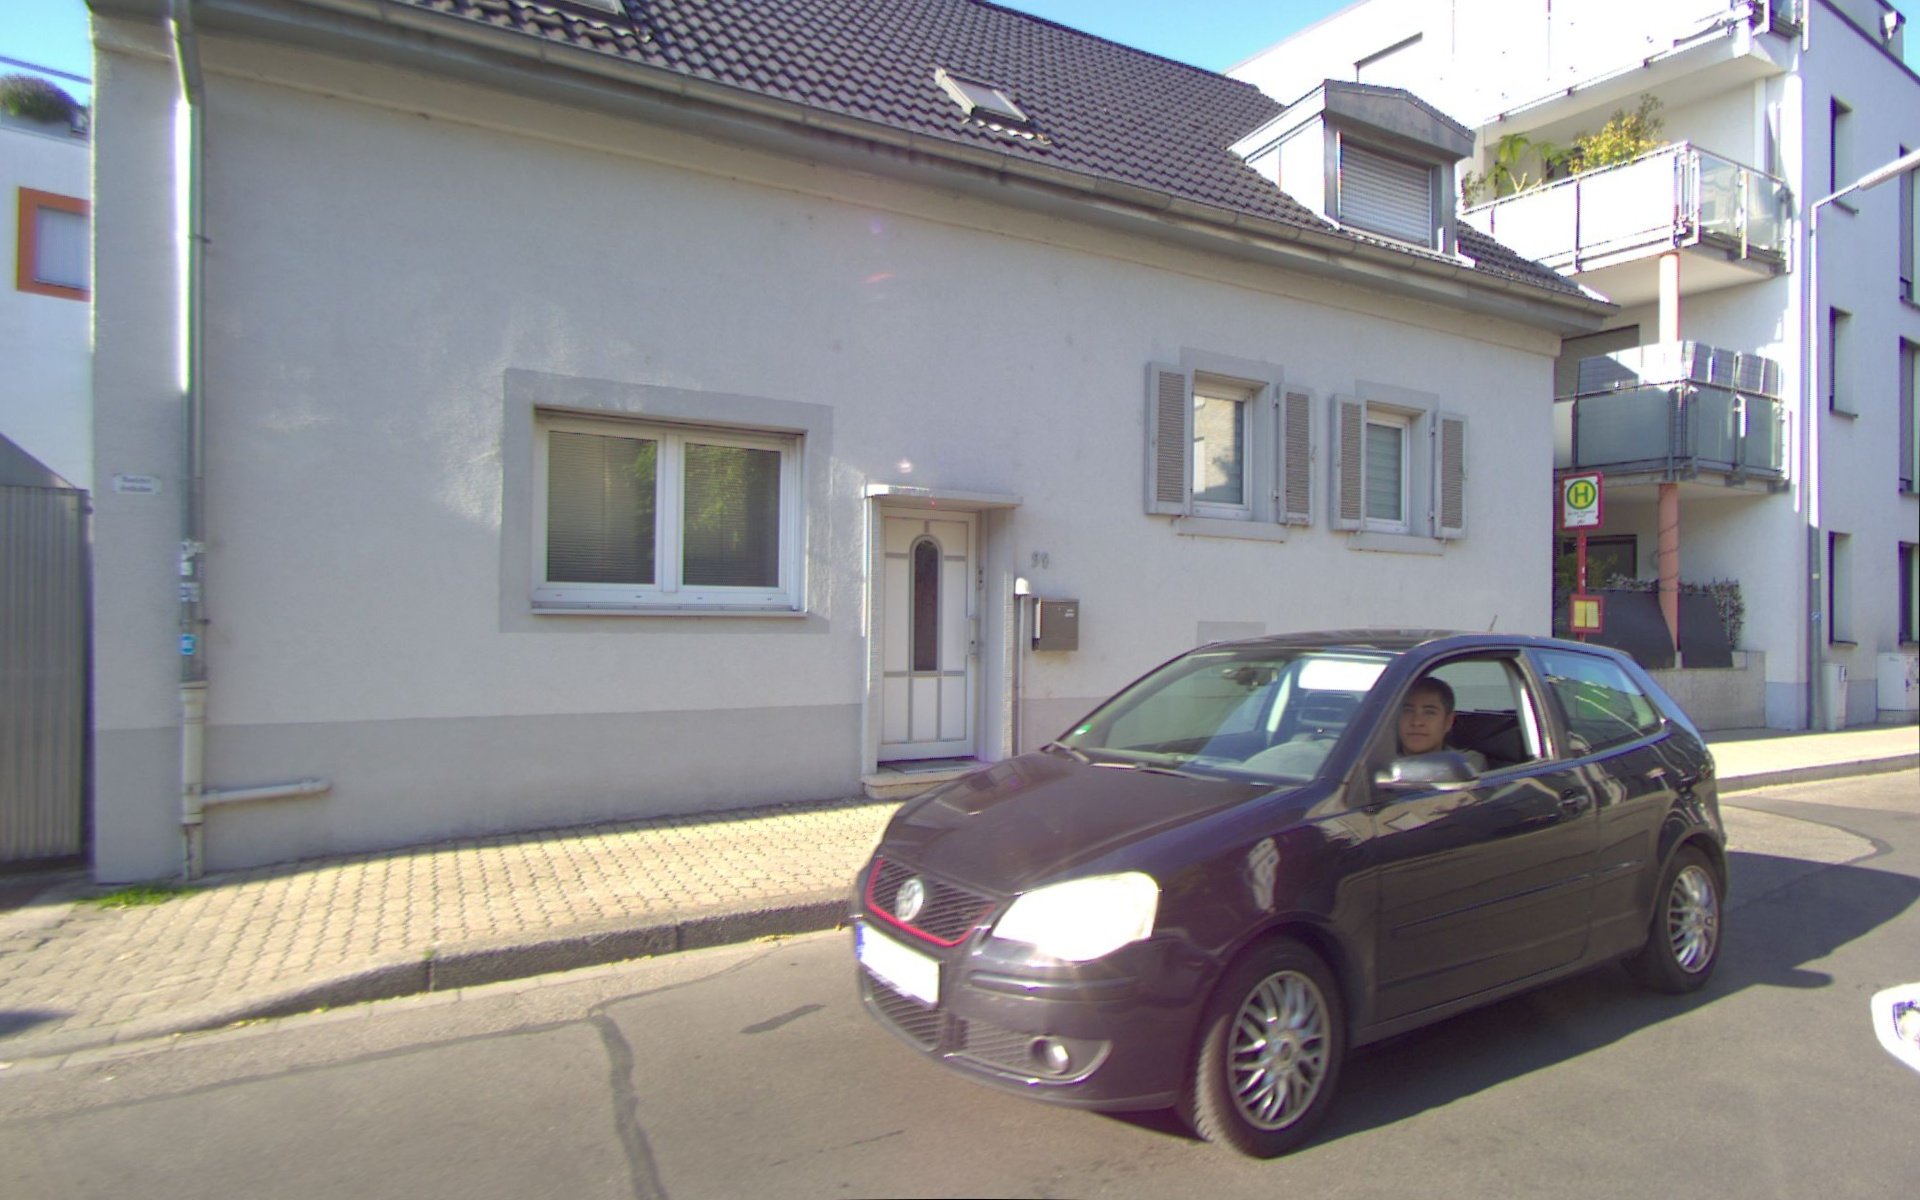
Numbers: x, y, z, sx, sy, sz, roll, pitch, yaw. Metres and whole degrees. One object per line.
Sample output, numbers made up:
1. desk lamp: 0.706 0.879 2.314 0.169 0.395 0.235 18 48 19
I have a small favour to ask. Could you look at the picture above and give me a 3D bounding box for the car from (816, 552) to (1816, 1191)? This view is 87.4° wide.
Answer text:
1. car: 1.659 0.726 4.252 4.098 1.510 1.833 2 -2 -31
